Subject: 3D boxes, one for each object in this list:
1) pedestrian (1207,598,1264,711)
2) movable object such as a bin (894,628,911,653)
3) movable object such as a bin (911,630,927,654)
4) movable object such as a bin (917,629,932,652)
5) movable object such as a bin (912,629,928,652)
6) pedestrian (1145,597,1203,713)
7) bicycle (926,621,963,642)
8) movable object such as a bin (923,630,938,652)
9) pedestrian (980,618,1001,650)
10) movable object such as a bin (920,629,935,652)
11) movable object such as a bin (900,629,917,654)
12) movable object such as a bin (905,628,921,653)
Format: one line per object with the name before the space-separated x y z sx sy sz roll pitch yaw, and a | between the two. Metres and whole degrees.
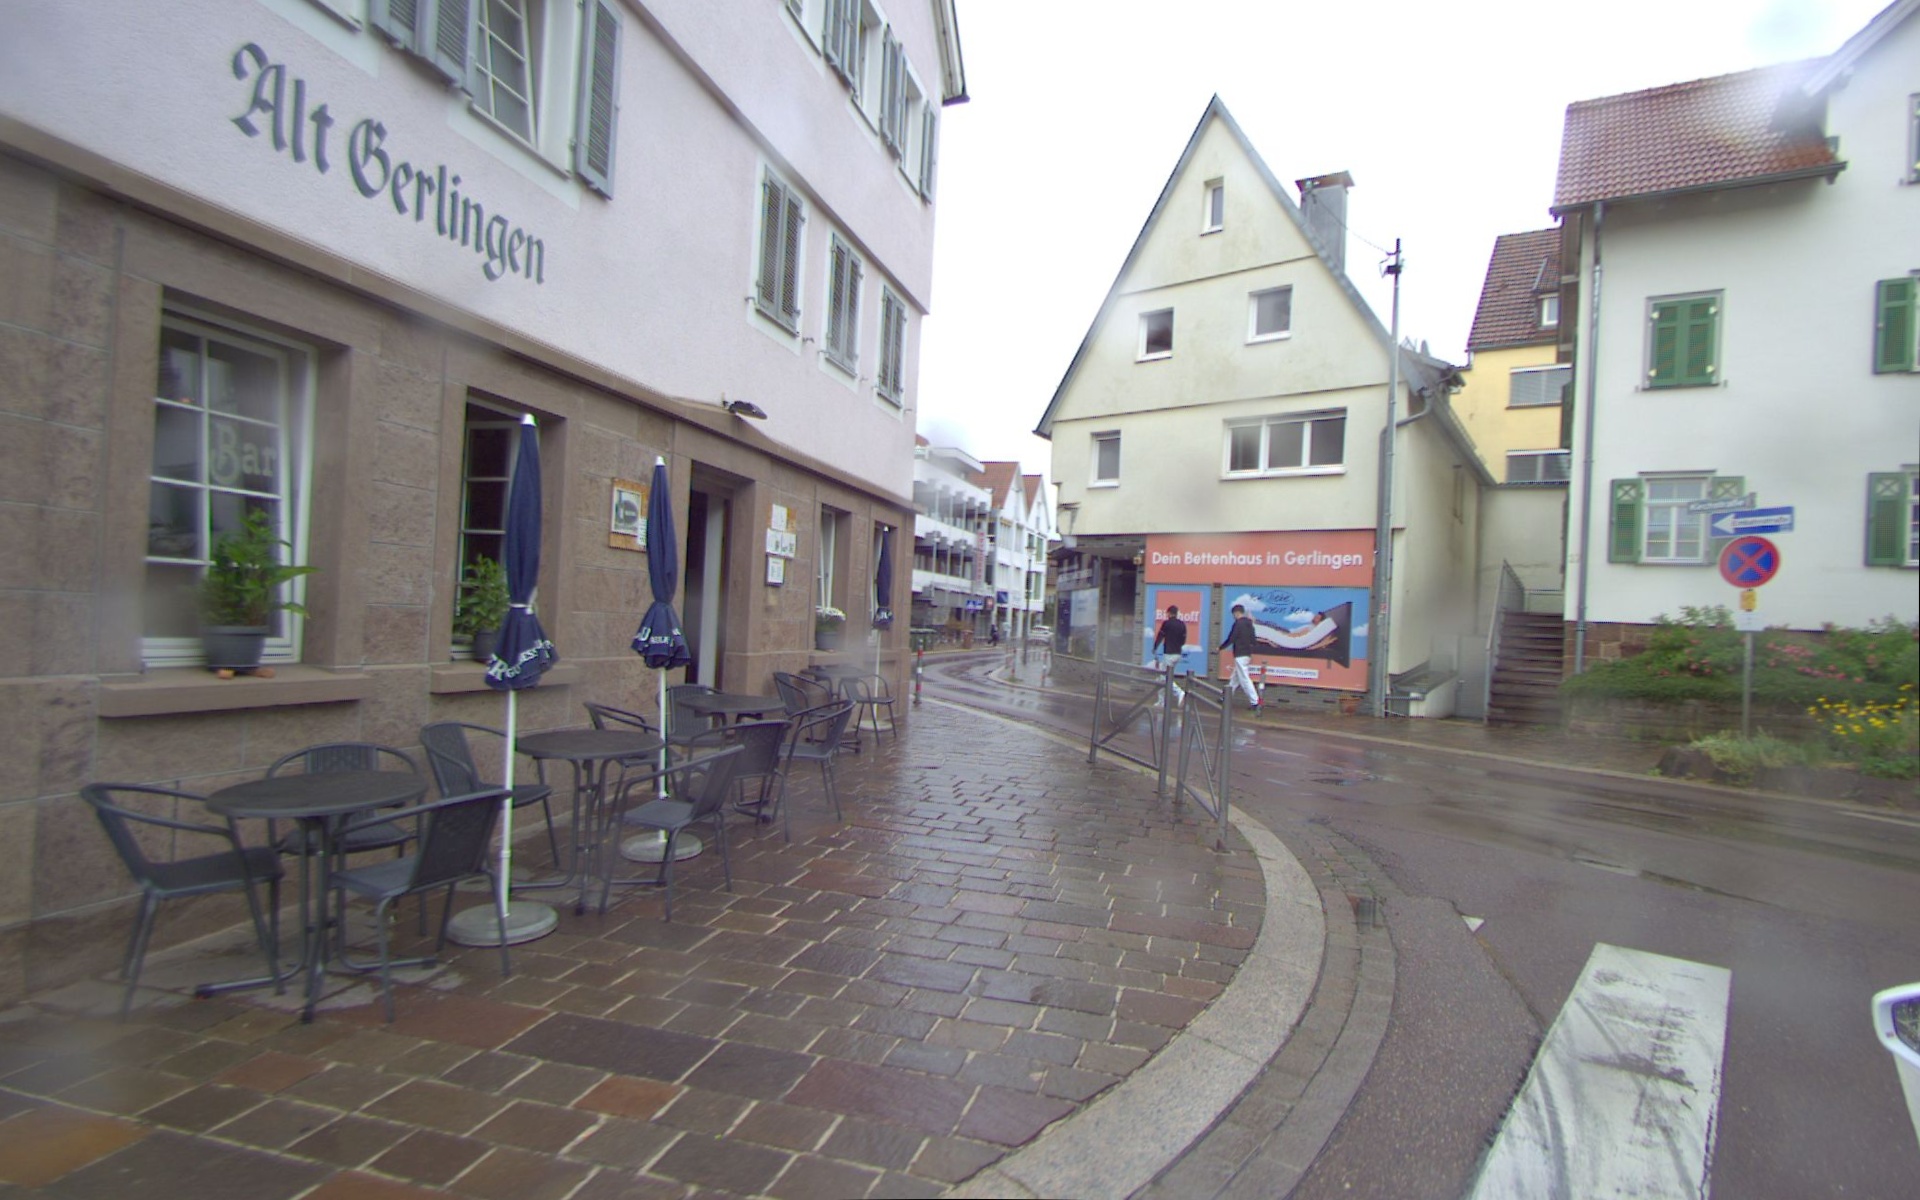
pedestrian | 5.083 0.993 18.525 0.751 2.040 0.649 0 -2 44
movable object such as a bin | -2.662 1.899 46.785 0.622 1.142 0.577 2 -2 14
movable object such as a bin | -2.024 2.053 49.409 0.622 1.142 0.577 2 -2 14
movable object such as a bin | -1.827 2.101 51.901 0.622 1.142 0.577 2 -2 14
movable object such as a bin | -2.034 2.073 51.120 0.622 1.142 0.577 2 -2 14
pedestrian | 3.854 0.978 18.083 0.751 2.040 0.649 0 -2 44
bicycle | -1.054 2.115 68.328 2.263 1.331 1.011 1 -2 19
movable object such as a bin | -1.558 2.158 53.240 0.622 1.142 0.577 2 -2 14
pedestrian | 1.980 2.213 65.658 1.122 2.040 0.828 3 0 13
movable object such as a bin | -1.695 2.129 52.575 0.622 1.142 0.577 2 -2 14
movable object such as a bin | -2.456 1.955 47.595 0.622 1.142 0.577 2 -2 14
movable object such as a bin | -2.269 1.948 48.362 0.622 1.142 0.577 2 -2 14
